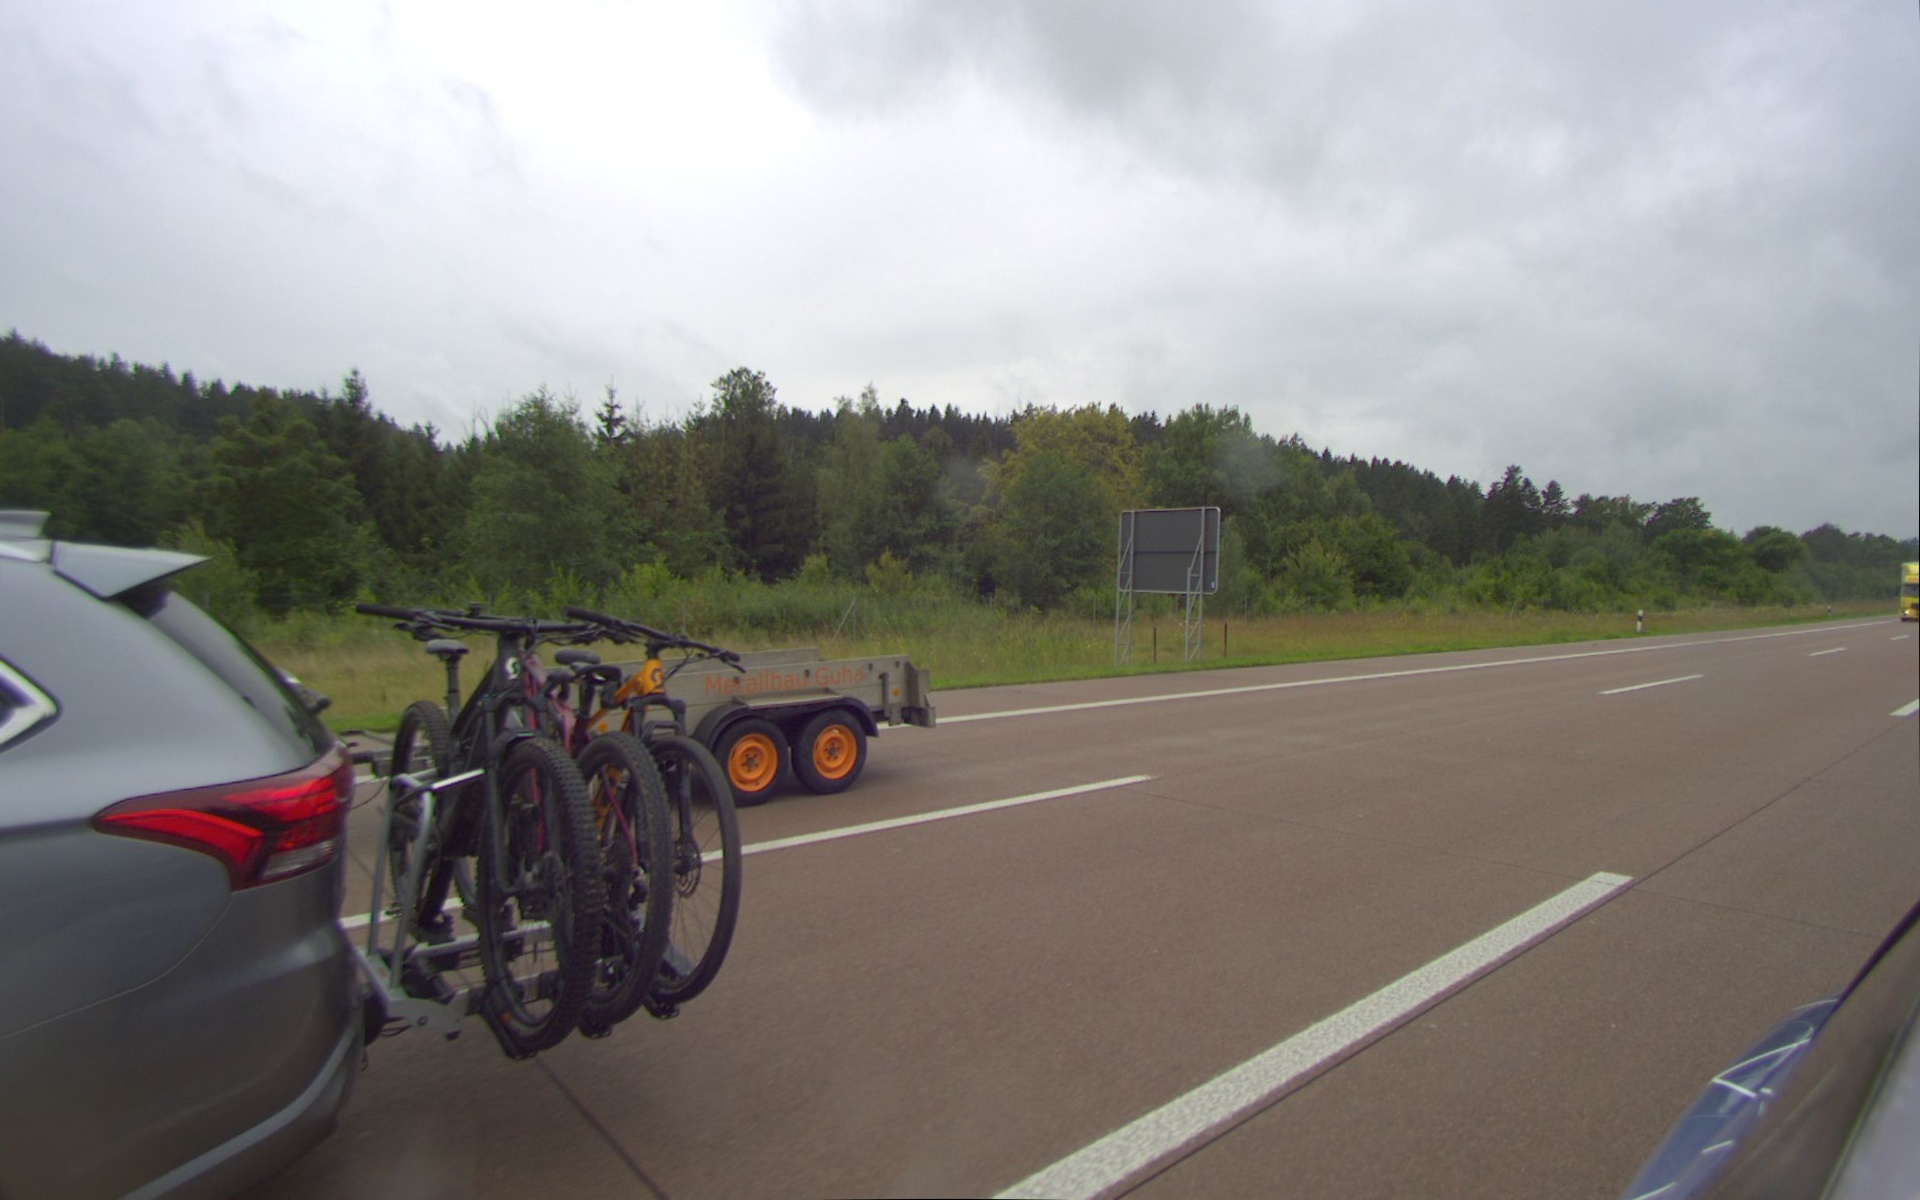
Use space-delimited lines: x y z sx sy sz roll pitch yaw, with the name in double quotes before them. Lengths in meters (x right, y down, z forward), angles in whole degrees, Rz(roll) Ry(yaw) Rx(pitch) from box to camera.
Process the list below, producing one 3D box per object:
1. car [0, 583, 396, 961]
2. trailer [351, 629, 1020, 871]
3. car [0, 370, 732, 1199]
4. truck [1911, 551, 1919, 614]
"car" -5.428 0.769 4.469 4.890 1.631 1.701 -2 2 -41
"trailer" -1.856 0.878 7.734 4.557 1.181 1.975 0 0 -41
"car" -3.362 0.477 1.338 5.720 1.612 1.996 -2 1 -41
"truck" 67.983 -1.284 69.913 6.141 4.267 2.608 -2 1 -40
